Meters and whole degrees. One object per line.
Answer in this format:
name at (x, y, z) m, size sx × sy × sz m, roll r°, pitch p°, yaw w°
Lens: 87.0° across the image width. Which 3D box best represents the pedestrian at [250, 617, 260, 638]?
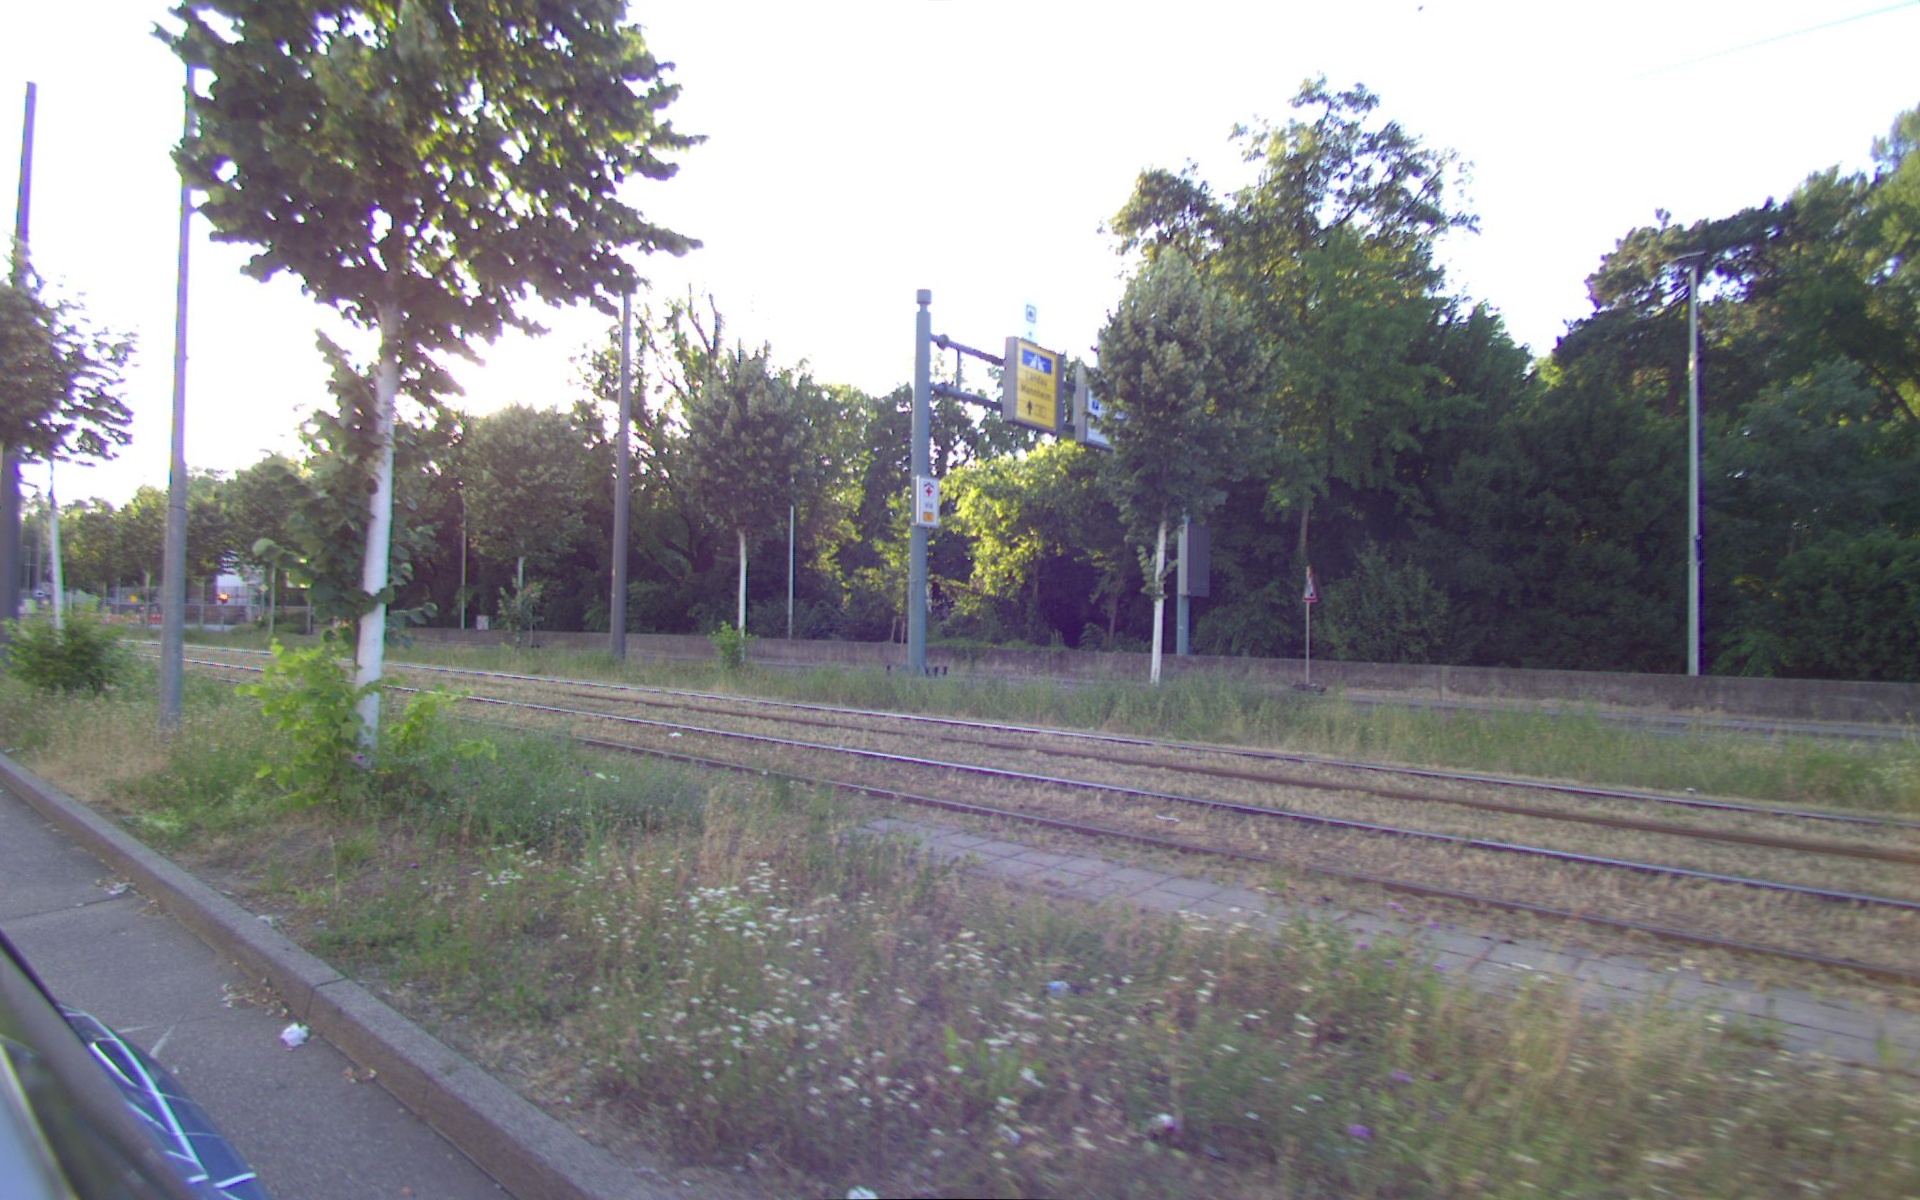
pedestrian at (-56.192, 2.159, 80.665) m, size 0.660 × 1.620 × 0.679 m, roll -1°, pitch -4°, yaw -37°
